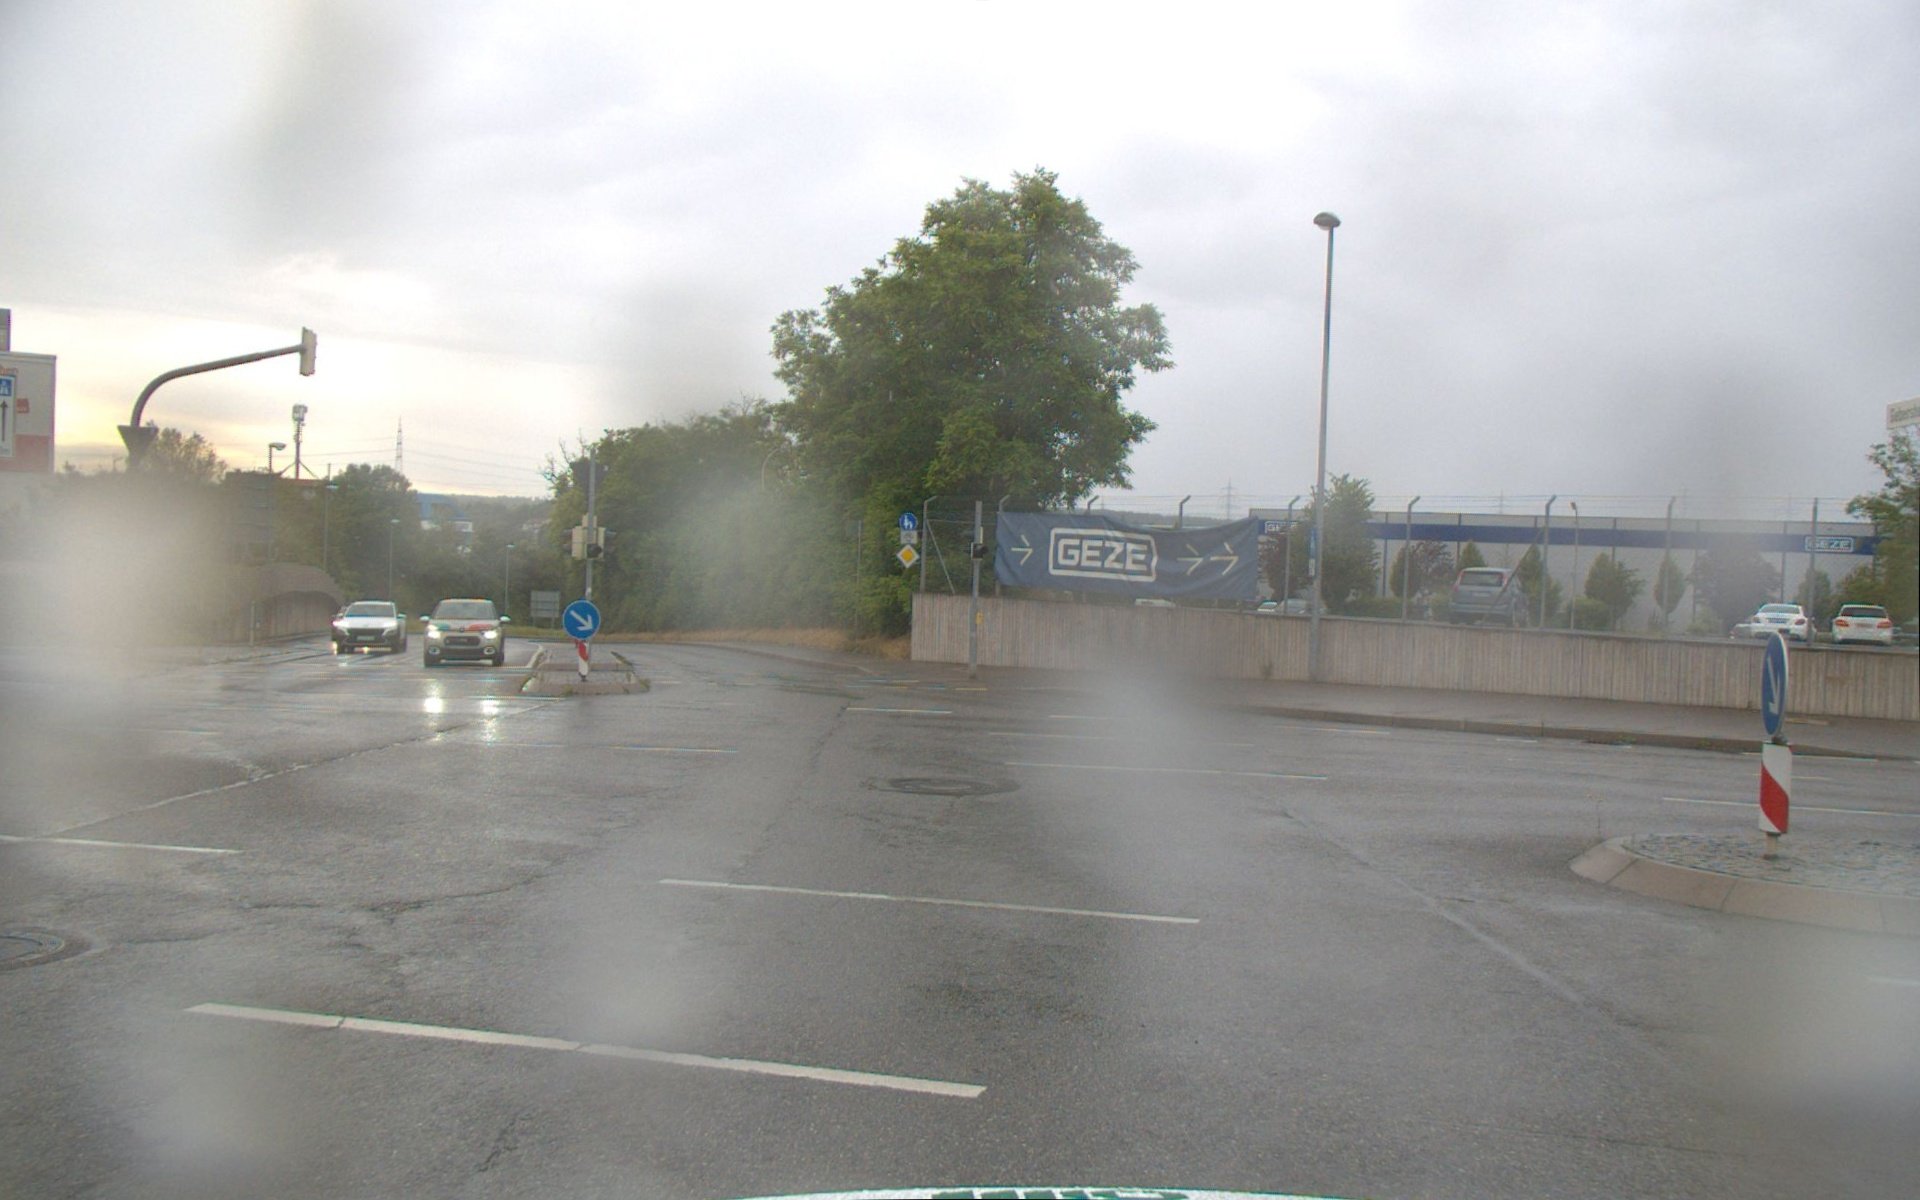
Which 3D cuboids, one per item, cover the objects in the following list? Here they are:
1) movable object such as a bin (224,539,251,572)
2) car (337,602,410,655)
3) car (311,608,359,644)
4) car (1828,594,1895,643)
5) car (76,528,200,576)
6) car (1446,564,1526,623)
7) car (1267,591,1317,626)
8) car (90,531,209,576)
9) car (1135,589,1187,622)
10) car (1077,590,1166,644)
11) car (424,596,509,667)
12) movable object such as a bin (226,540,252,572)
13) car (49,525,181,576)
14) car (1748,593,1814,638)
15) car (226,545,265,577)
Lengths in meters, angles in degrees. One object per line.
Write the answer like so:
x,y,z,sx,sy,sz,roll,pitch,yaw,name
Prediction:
-34.482,-2.117,78.959,1.069,1.462,1.436,3,-2,-23,movable object such as a bin
-17.940,0.847,50.732,1.691,1.521,3.985,1,-1,-14,car
-28.203,1.162,74.717,1.869,1.481,3.979,2,1,-19,car
30.327,0.624,55.728,1.821,1.552,4.099,1,0,26,car
-31.272,-1.823,62.926,3.903,1.614,1.903,2,-2,16,car
14.798,-0.161,46.409,1.708,1.580,3.528,1,0,25,car
16.397,0.428,81.595,1.633,1.634,3.528,1,0,25,car
-32.210,-1.838,65.757,3.903,1.614,1.903,2,-2,16,car
10.392,0.302,85.244,1.633,1.634,3.528,1,0,25,car
5.084,0.530,51.734,1.708,1.597,3.528,1,0,25,car
-11.266,0.699,37.956,1.633,1.521,3.985,1,-1,-14,car
-35.036,-2.125,80.368,1.069,1.462,1.436,3,-2,-23,movable object such as a bin
-30.759,-1.797,60.259,3.902,1.614,1.903,2,-2,12,car
28.041,0.528,56.466,1.783,1.459,4.096,1,0,30,car
-38.452,-2.072,89.102,1.802,1.467,3.972,3,-2,-23,car
